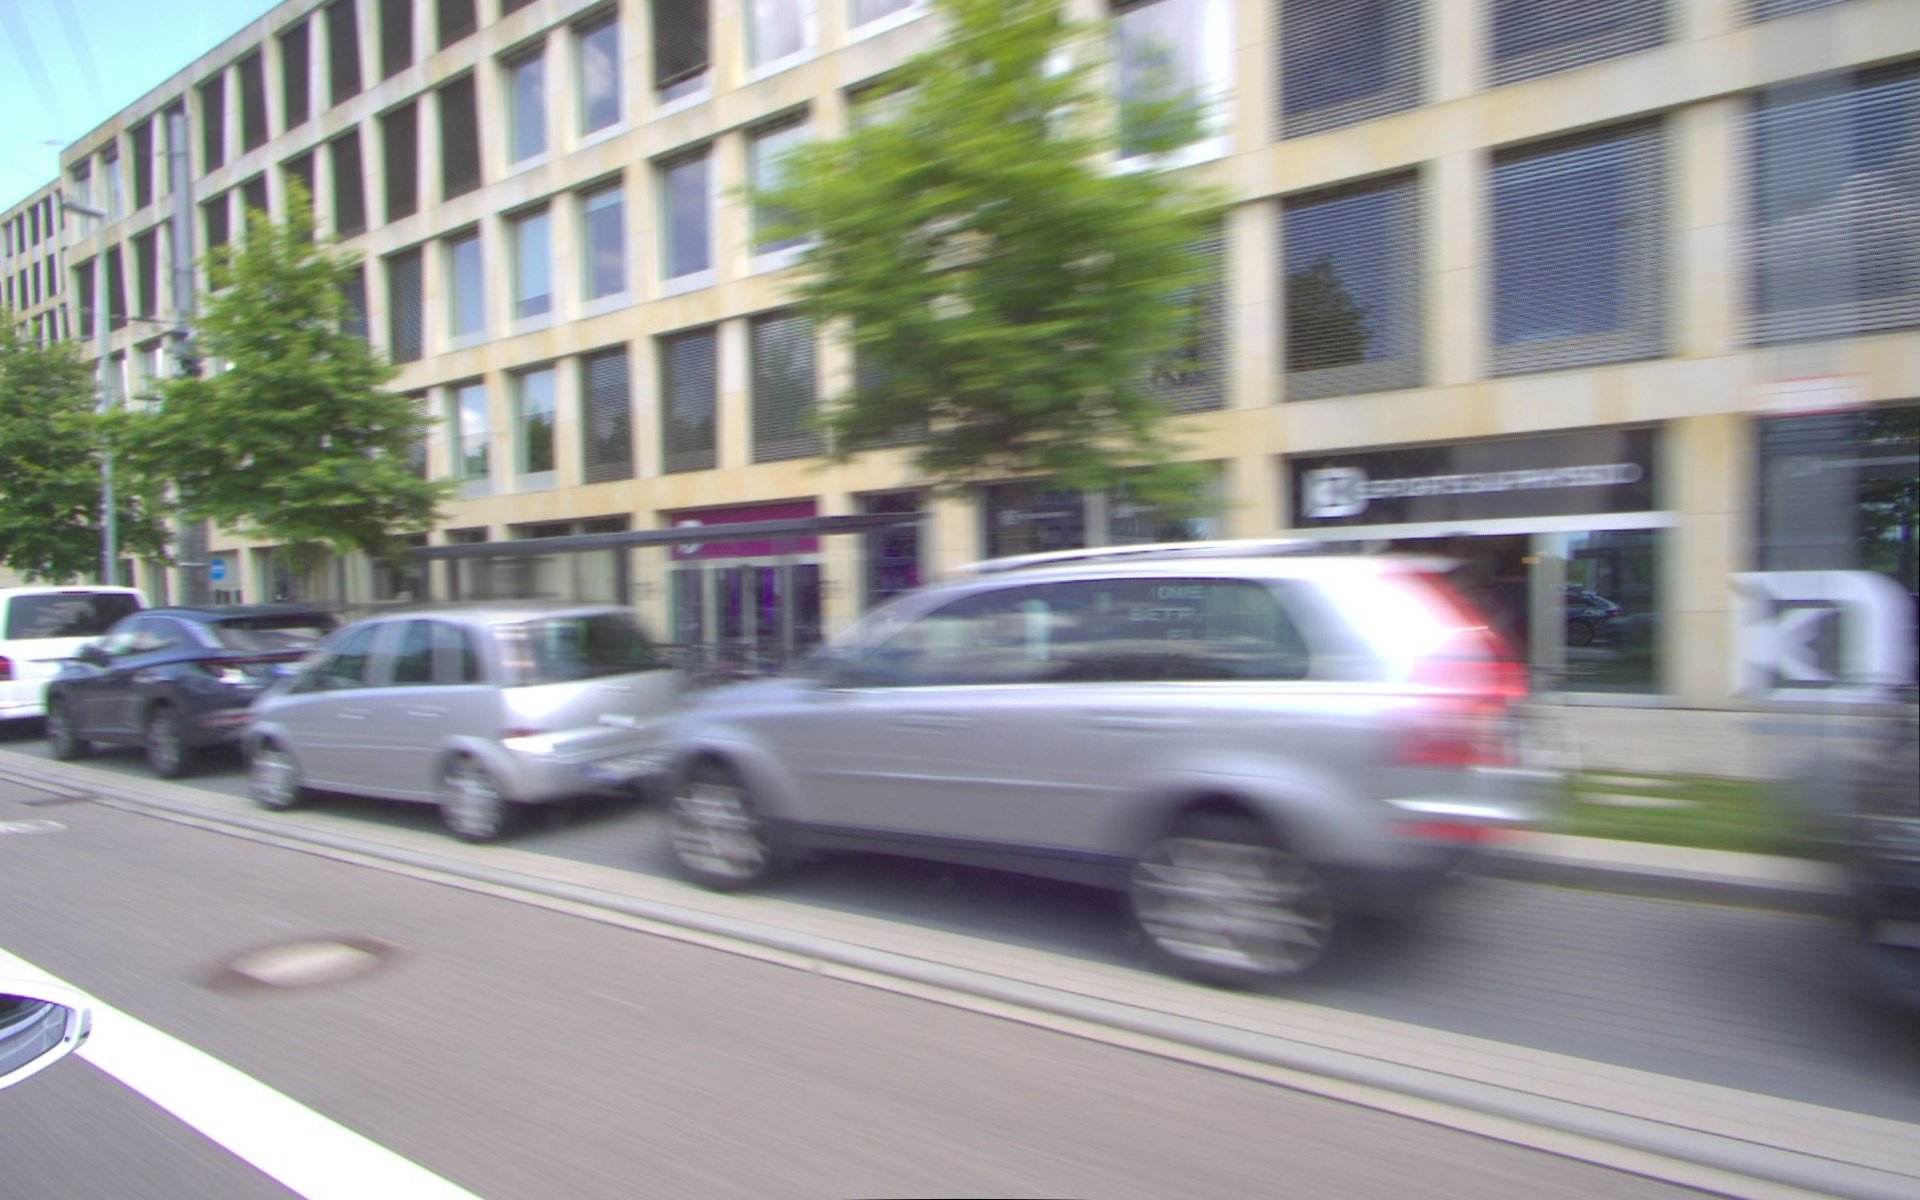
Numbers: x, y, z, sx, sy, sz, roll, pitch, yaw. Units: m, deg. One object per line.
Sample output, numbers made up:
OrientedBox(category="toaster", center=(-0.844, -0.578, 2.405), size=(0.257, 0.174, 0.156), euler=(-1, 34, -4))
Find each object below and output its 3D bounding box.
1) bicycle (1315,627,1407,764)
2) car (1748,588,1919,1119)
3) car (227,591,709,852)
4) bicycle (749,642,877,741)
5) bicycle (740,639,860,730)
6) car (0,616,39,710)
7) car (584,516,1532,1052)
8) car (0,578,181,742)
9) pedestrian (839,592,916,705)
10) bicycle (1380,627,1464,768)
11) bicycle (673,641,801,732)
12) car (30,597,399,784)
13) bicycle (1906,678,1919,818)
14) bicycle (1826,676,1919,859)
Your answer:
OrientedBox(category="bicycle", center=(3.350, 0.764, 8.288), size=(0.433, 1.006, 1.840), euler=(-1, -4, 30))
OrientedBox(category="car", center=(4.731, 0.703, 2.623), size=(4.009, 1.525, 1.687), euler=(-1, 1, 32))
OrientedBox(category="car", center=(-4.018, 0.780, 8.047), size=(3.804, 1.641, 1.717), euler=(-1, 1, 32))
OrientedBox(category="bicycle", center=(-1.689, 1.030, 11.805), size=(0.433, 1.070, 1.839), euler=(-1, -2, 30))
OrientedBox(category="bicycle", center=(-2.003, 1.037, 12.794), size=(0.433, 1.070, 1.839), euler=(-1, -2, 30))
OrientedBox(category="car", center=(-17.768, 1.070, 17.085), size=(4.498, 1.507, 1.877), euler=(-1, 1, 32))
OrientedBox(category="car", center=(0.286, 0.636, 5.359), size=(4.770, 1.791, 1.765), euler=(-1, 1, 32))
OrientedBox(category="car", center=(-13.250, 0.741, 14.216), size=(4.774, 1.966, 1.877), euler=(-1, 2, 32))
OrientedBox(category="pedestrian", center=(-1.184, 0.678, 14.419), size=(0.892, 1.572, 0.636), euler=(0, 1, 32))
OrientedBox(category="bicycle", center=(3.746, 0.756, 8.058), size=(0.433, 1.006, 1.840), euler=(-1, -4, 30))
OrientedBox(category="bicycle", center=(-2.801, 1.062, 12.795), size=(0.469, 1.070, 1.839), euler=(-1, -2, 30))
OrientedBox(category="car", center=(-8.296, 0.852, 11.041), size=(4.462, 1.663, 1.717), euler=(-1, 2, 32))
OrientedBox(category="bicycle", center=(6.493, 1.022, 6.256), size=(0.433, 0.952, 1.839), euler=(-1, -1, 30))
OrientedBox(category="bicycle", center=(6.117, 1.025, 6.487), size=(0.433, 0.952, 1.839), euler=(-1, -1, 30))
